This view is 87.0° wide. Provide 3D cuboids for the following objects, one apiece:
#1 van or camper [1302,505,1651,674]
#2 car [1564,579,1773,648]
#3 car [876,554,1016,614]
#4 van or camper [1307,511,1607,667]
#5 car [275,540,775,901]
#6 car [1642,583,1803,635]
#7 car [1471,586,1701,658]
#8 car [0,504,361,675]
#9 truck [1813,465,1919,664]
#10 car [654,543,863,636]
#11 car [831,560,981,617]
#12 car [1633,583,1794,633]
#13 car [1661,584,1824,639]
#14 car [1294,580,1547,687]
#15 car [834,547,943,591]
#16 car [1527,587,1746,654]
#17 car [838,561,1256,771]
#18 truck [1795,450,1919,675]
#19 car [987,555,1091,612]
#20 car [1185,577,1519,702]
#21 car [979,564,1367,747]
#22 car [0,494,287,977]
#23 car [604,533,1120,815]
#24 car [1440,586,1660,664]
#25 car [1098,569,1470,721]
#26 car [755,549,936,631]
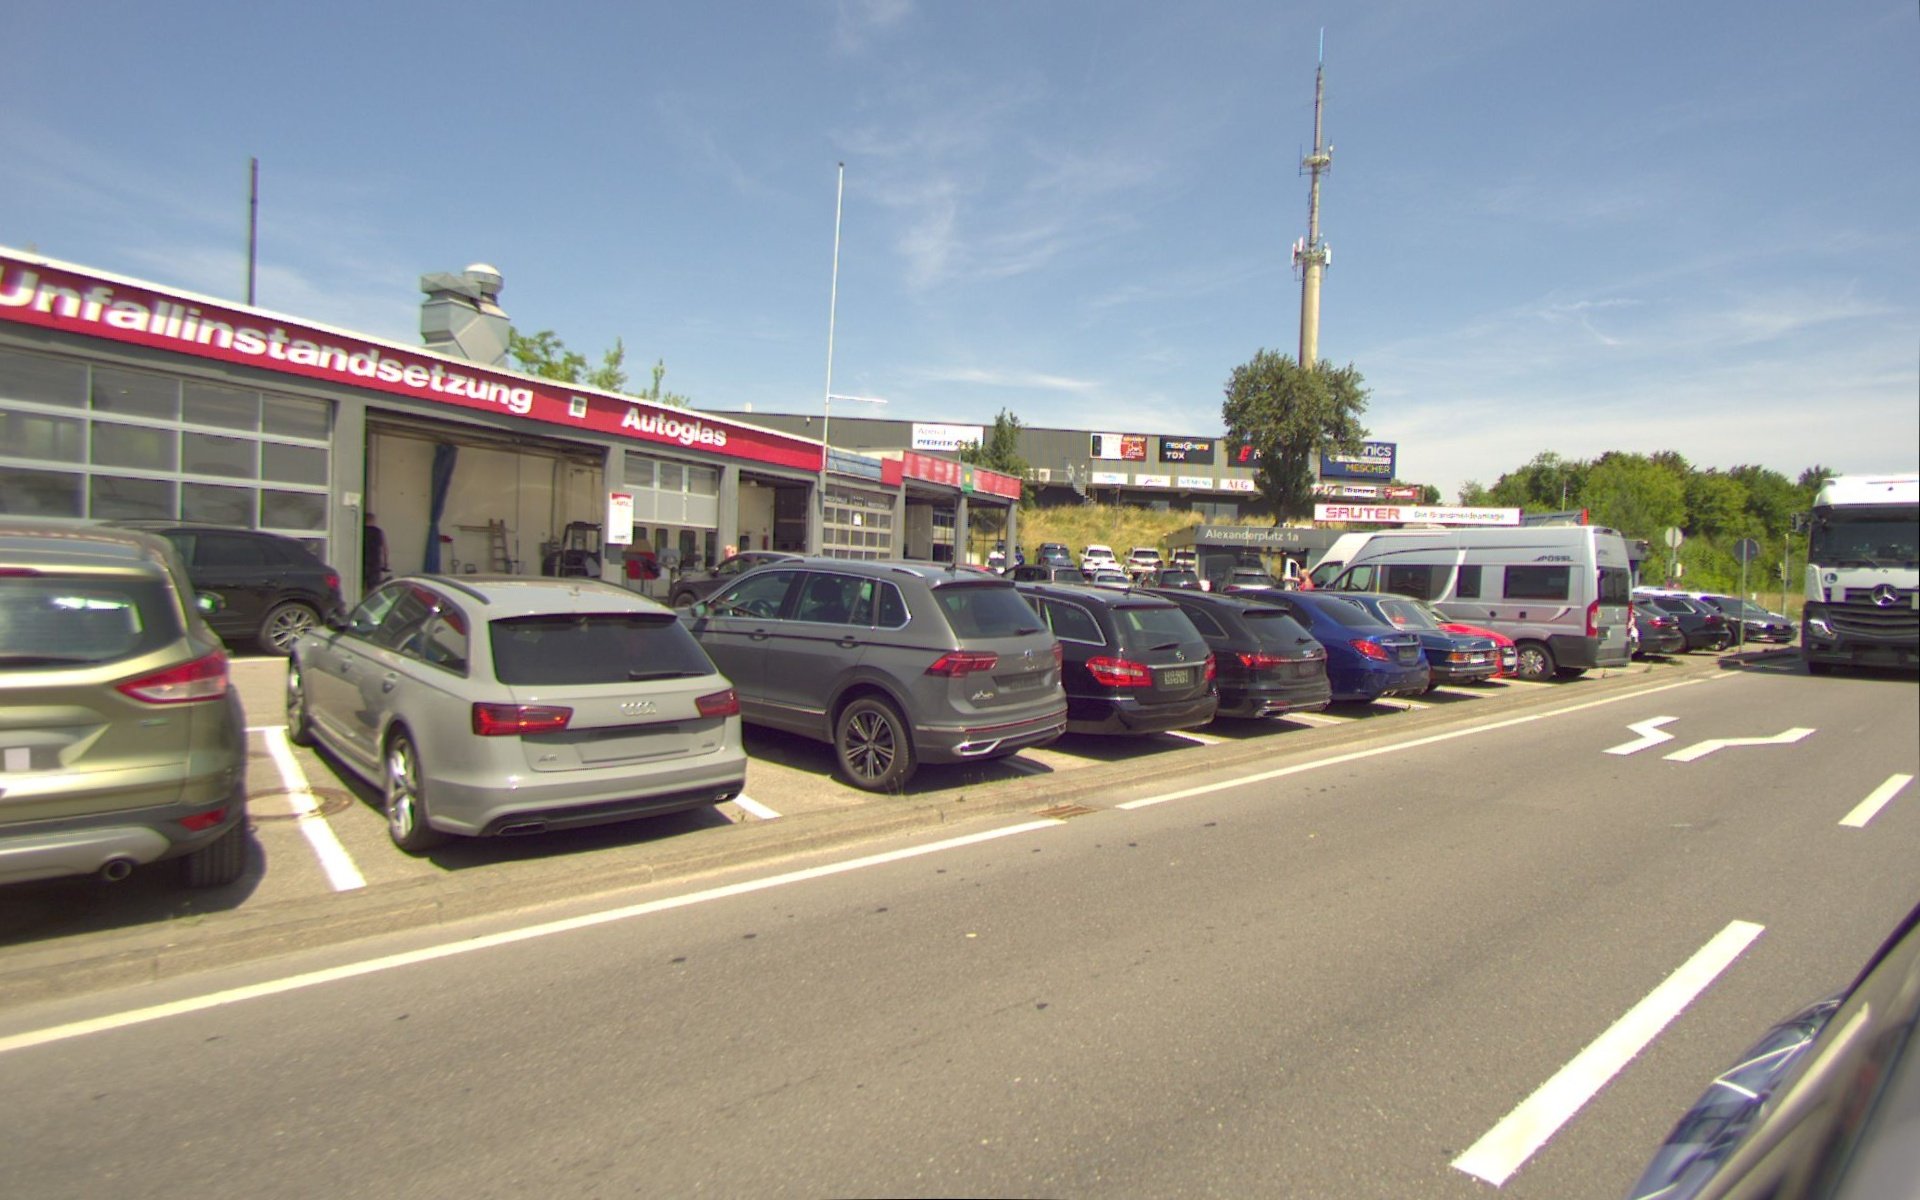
[{"bbox_3d":[9.614,-0.253,19.321,2.192,2.764,5.487,1,1,-40],"label":"van or camper"},{"bbox_3d":[19.454,0.307,28.040,4.288,1.644,2.048,3,2,21],"label":"car"},{"bbox_3d":[-0.394,-0.475,28.662,3.564,1.466,1.665,1,7,27],"label":"car"},{"bbox_3d":[10.567,-0.289,21.933,2.192,2.942,5.380,1,1,-40],"label":"van or camper"},{"bbox_3d":[-3.178,0.481,6.862,1.763,1.439,4.143,0,6,-44],"label":"car"},{"bbox_3d":[28.727,0.298,38.280,4.415,1.426,1.738,6,3,16],"label":"car"},{"bbox_3d":[14.942,0.465,24.312,2.047,1.518,4.329,0,1,-44],"label":"car"},{"bbox_3d":[-10.005,-0.191,12.413,1.937,1.676,4.127,7,4,27],"label":"car"},{"bbox_3d":[24.437,-0.743,25.735,2.975,4.058,13.896,5,3,44],"label":"truck"},{"bbox_3d":[-4.200,-0.267,21.112,3.958,1.708,1.840,3,2,25],"label":"car"},{"bbox_3d":[-1.414,-0.295,26.441,3.563,1.391,1.663,0,0,26],"label":"car"},{"bbox_3d":[30.179,0.289,40.677,4.661,1.571,1.996,4,2,8],"label":"car"},{"bbox_3d":[26.902,0.342,35.063,1.893,1.403,4.935,3,4,3],"label":"car"},{"bbox_3d":[7.816,0.491,17.397,1.725,1.512,3.548,0,2,-41],"label":"car"},{"bbox_3d":[-2.861,-1.242,40.316,3.964,1.638,1.895,2,1,29],"label":"car"},{"bbox_3d":[17.172,0.451,25.826,2.047,1.518,4.329,0,1,-44],"label":"car"},{"bbox_3d":[0.747,0.495,10.580,1.946,1.499,4.017,0,5,-44],"label":"car"},{"bbox_3d":[19.363,-0.692,20.562,2.975,4.058,6.225,5,3,44],"label":"truck"},{"bbox_3d":[2.786,-0.629,36.035,1.650,1.596,3.601,-11,10,-35],"label":"car"},{"bbox_3d":[5.892,0.483,15.709,1.751,1.537,4.523,0,2,-41],"label":"car"},{"bbox_3d":[2.356,0.482,11.922,1.946,1.499,4.017,0,5,-44],"label":"car"},{"bbox_3d":[-4.903,0.376,5.218,1.909,1.711,3.865,0,6,-41],"label":"car"},{"bbox_3d":[-0.929,0.403,8.848,4.000,1.694,2.174,6,5,35],"label":"car"},{"bbox_3d":[13.012,0.487,22.482,1.820,1.518,3.819,0,1,-38],"label":"car"},{"bbox_3d":[4.263,0.462,13.788,2.128,1.429,4.271,0,6,-44],"label":"car"},{"bbox_3d":[-2.730,-0.287,23.916,3.974,1.593,1.833,5,3,34],"label":"car"}]
